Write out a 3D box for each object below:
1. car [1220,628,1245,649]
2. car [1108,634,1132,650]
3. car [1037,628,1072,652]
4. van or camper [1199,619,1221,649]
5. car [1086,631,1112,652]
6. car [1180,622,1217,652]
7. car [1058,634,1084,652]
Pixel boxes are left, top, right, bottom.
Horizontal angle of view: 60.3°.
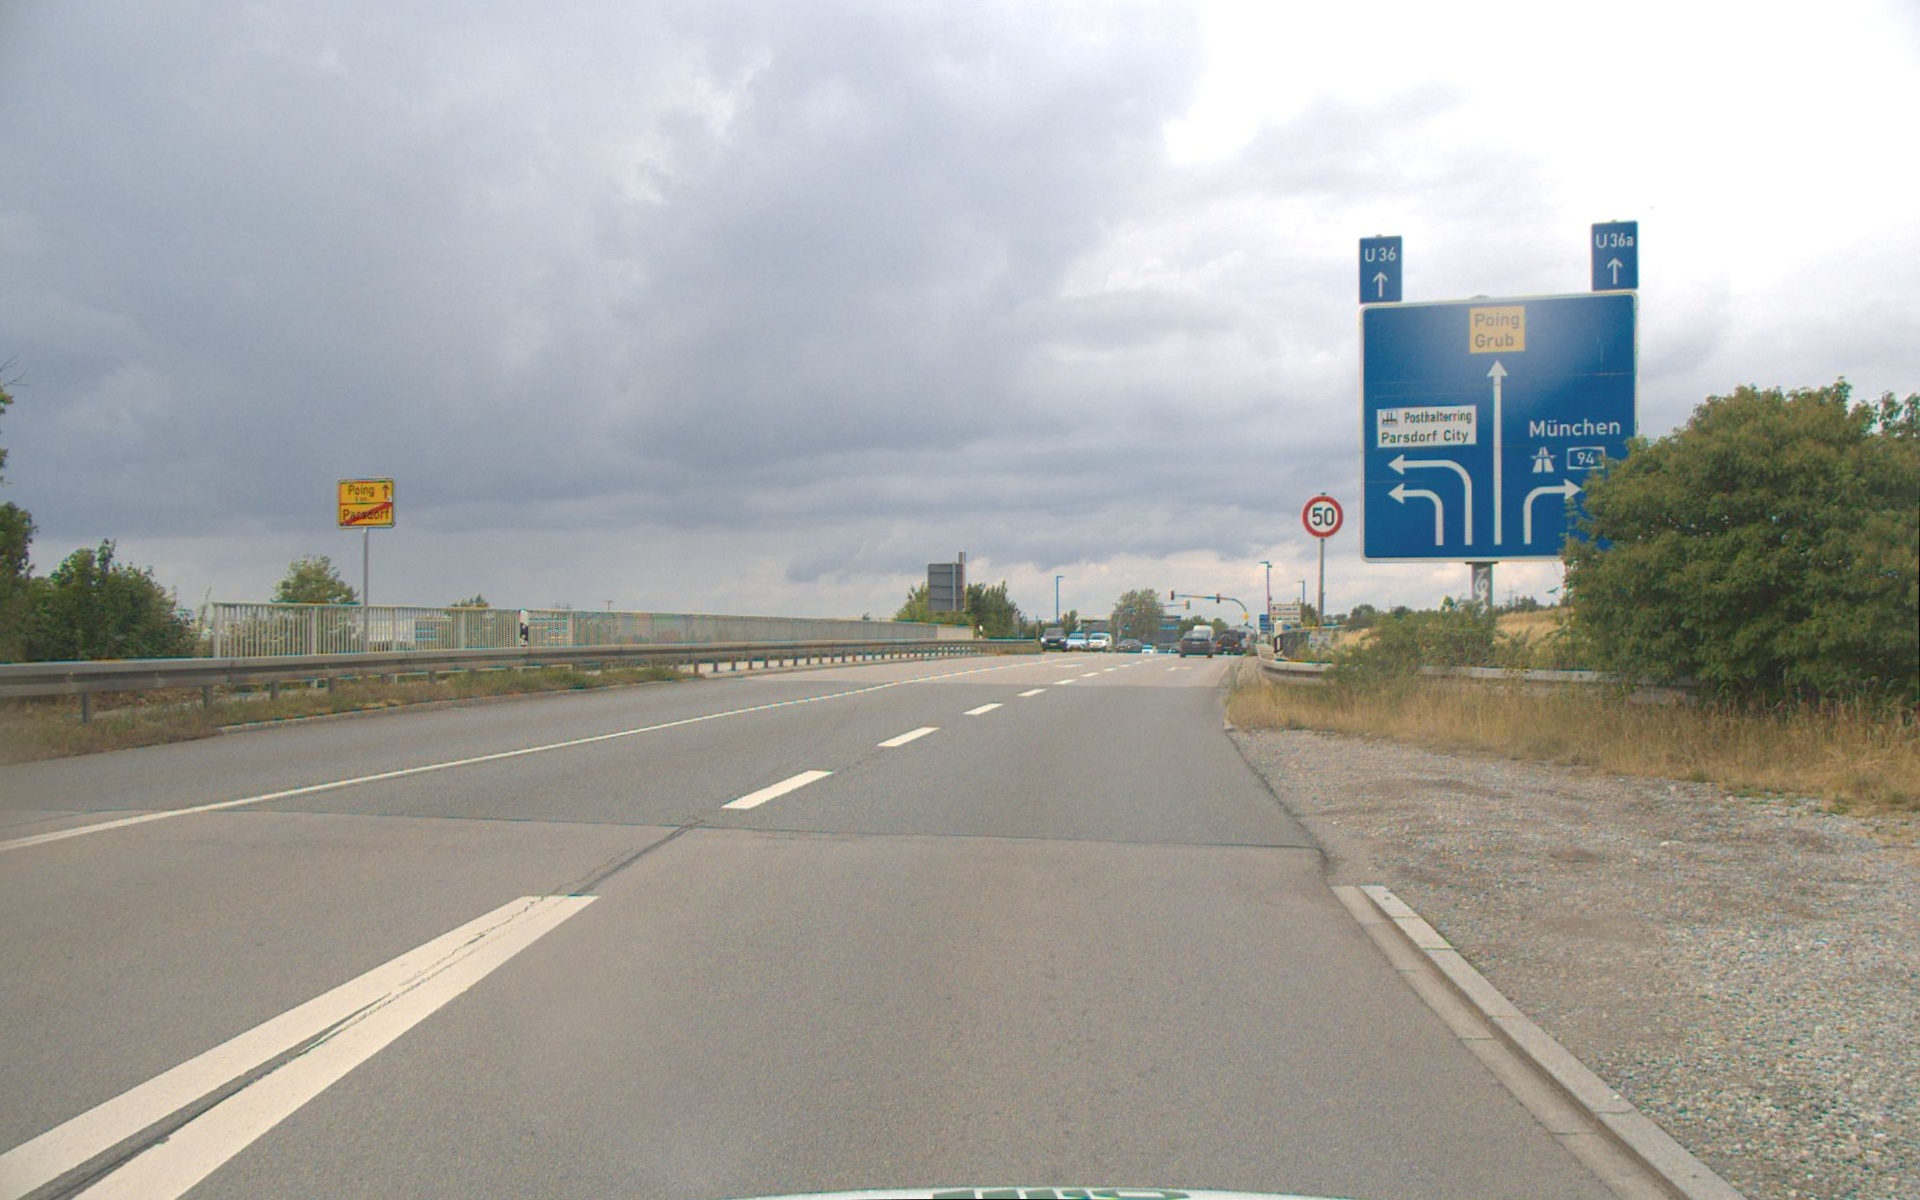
[{"bbox_3d":[21.612,3.068,131.249,1.646,1.571,3.618,0,-2,14],"label":"car"},{"bbox_3d":[16.797,4.461,173.521,1.549,1.585,4.147,1,-2,18],"label":"car"},{"bbox_3d":[7.196,3.017,125.080,1.951,1.762,4.766,0,-1,12],"label":"car"},{"bbox_3d":[23.096,3.178,152.832,1.836,2.626,4.003,2,-1,10],"label":"van or camper"},{"bbox_3d":[13.247,3.958,157.597,1.911,1.907,4.824,0,-1,11],"label":"car"},{"bbox_3d":[12.282,1.927,85.104,1.486,1.511,3.618,0,-2,14],"label":"car"},{"bbox_3d":[9.353,3.607,139.329,1.675,1.513,4.283,0,-1,11],"label":"car"}]
